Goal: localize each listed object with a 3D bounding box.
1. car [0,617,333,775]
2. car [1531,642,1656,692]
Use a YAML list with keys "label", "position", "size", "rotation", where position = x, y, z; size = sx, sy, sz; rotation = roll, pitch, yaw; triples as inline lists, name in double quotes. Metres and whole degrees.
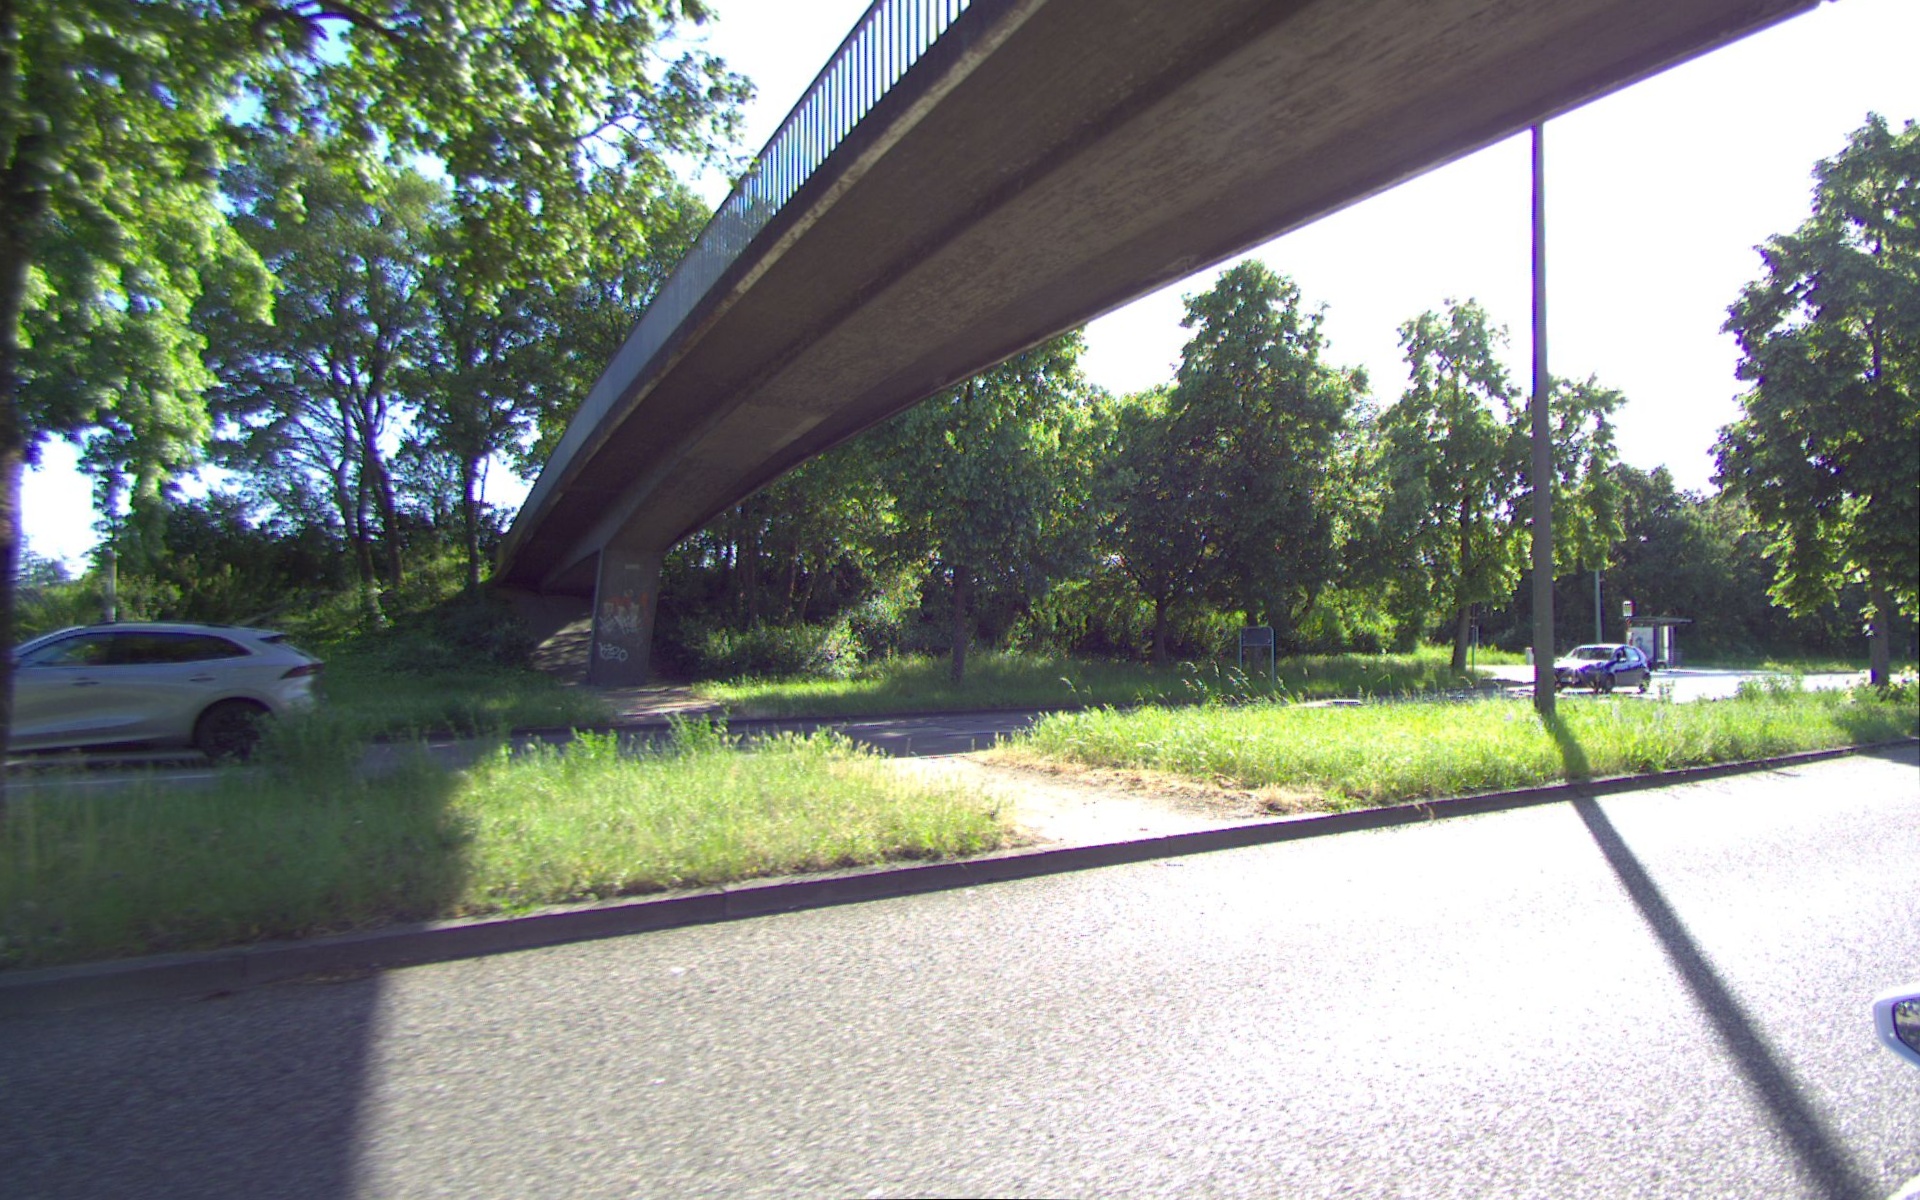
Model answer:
- label: "car"
  position: [-10.178, 1.075, 11.639]
  size: [4.843, 1.667, 1.724]
  rotation: [2, -4, -31]
- label: "car"
  position: [19.427, 2.028, 30.767]
  size: [4.208, 1.449, 1.532]
  rotation: [2, -3, -32]
